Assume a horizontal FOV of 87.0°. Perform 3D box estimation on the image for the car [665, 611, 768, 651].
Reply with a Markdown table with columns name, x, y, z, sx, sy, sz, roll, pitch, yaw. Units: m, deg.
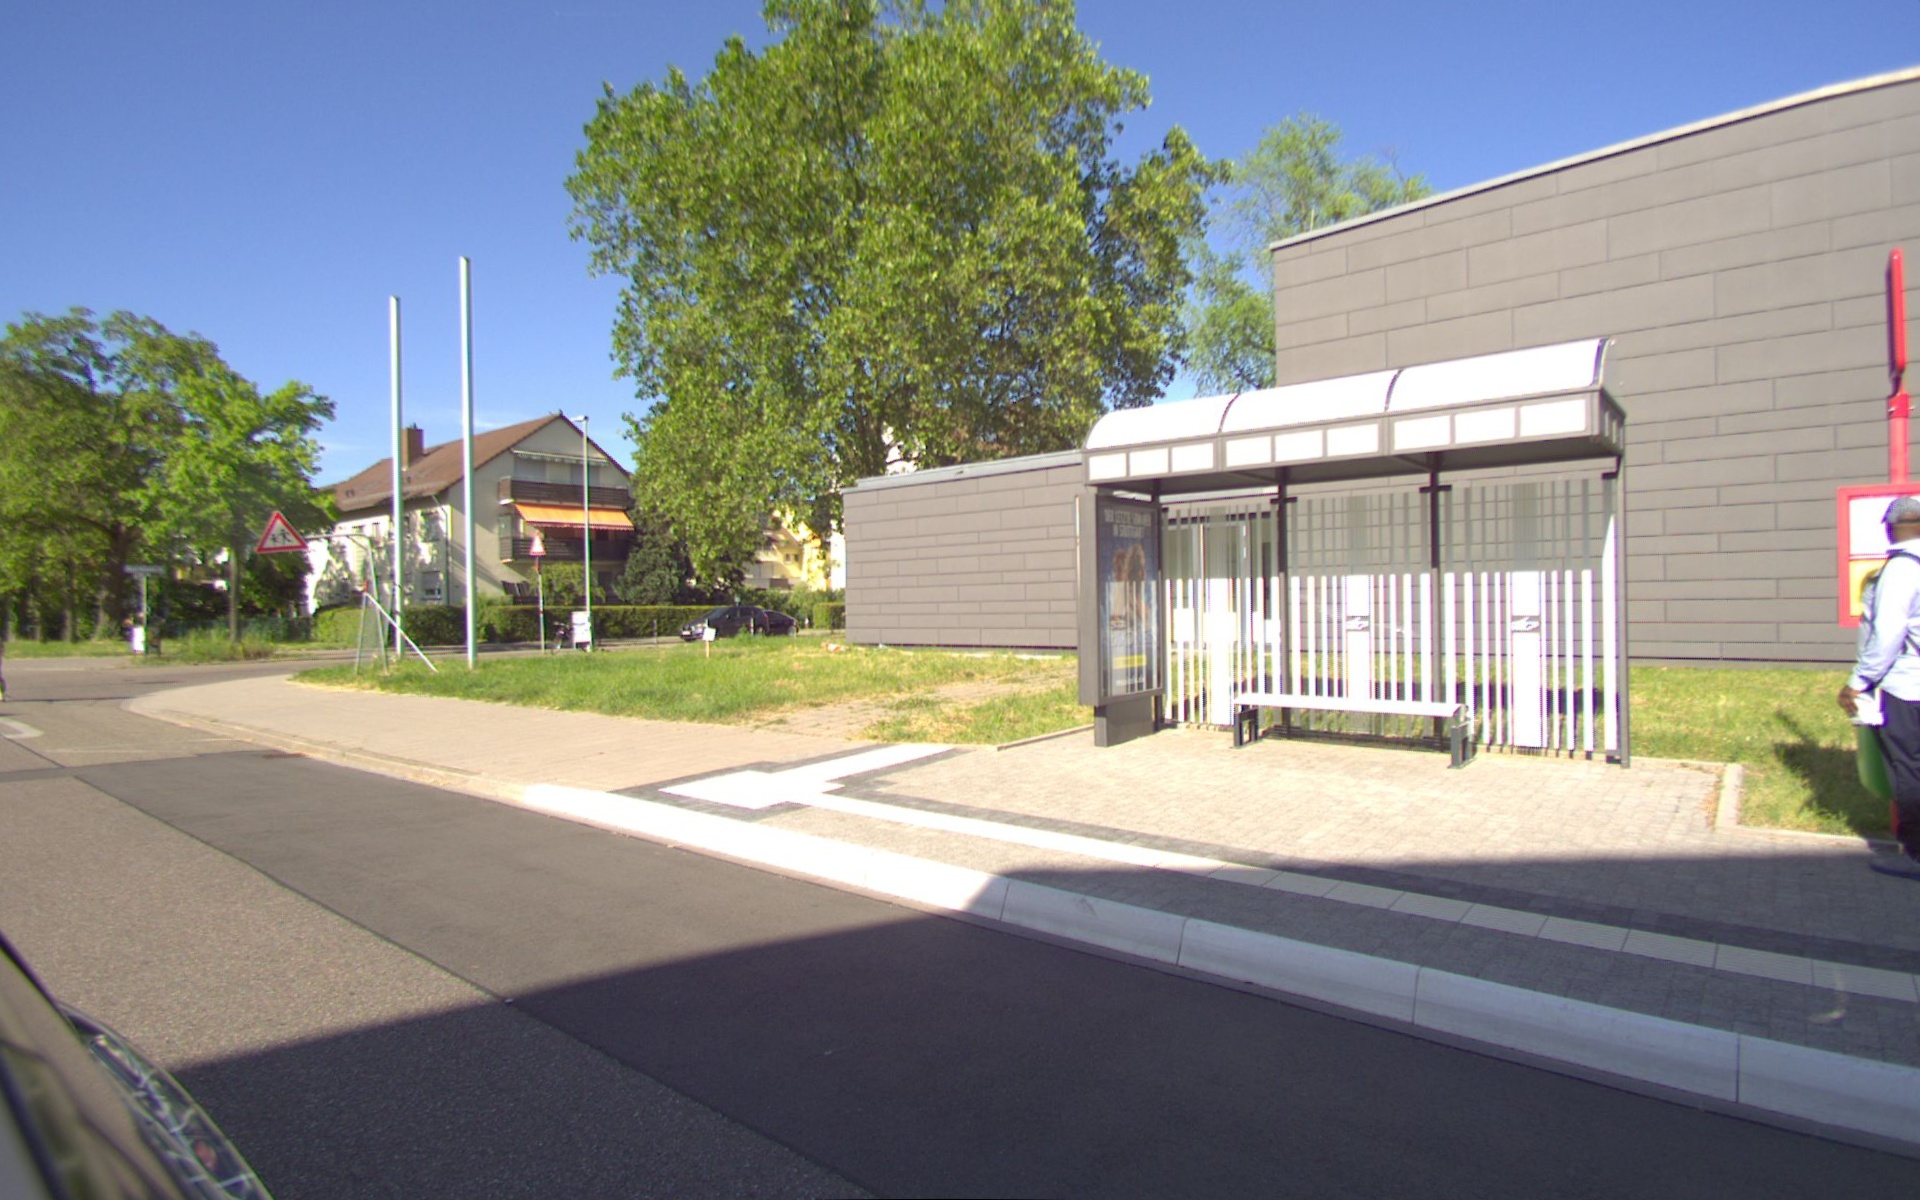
| name | x | y | z | sx | sy | sz | roll | pitch | yaw |
| --- | --- | --- | --- | --- | --- | --- | --- | --- | --- |
| car | -10.827 | 1.331 | 45.130 | 2.113 | 1.468 | 4.057 | 1 | 2 | 38 |

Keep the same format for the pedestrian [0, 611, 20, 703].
| name | x | y | z | sx | sy | sz | roll | pitch | yaw |
| --- | --- | --- | --- | --- | --- | --- | --- | --- | --- |
| pedestrian | -17.290 | 0.984 | 17.838 | 0.822 | 1.599 | 0.634 | 3 | -1 | -23 |

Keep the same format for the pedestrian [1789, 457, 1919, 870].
| name | x | y | z | sx | sy | sz | roll | pitch | yaw |
| --- | --- | --- | --- | --- | --- | --- | --- | --- | --- |
| pedestrian | 4.519 | 0.264 | 4.647 | 0.706 | 1.816 | 0.773 | -3 | 1 | -11 |

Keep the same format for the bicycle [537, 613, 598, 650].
| name | x | y | z | sx | sy | sz | roll | pitch | yaw |
| --- | --- | --- | --- | --- | --- | --- | --- | --- | --- |
| bicycle | -11.903 | 0.952 | 30.717 | 1.575 | 0.992 | 0.501 | -4 | 0 | -34 |
